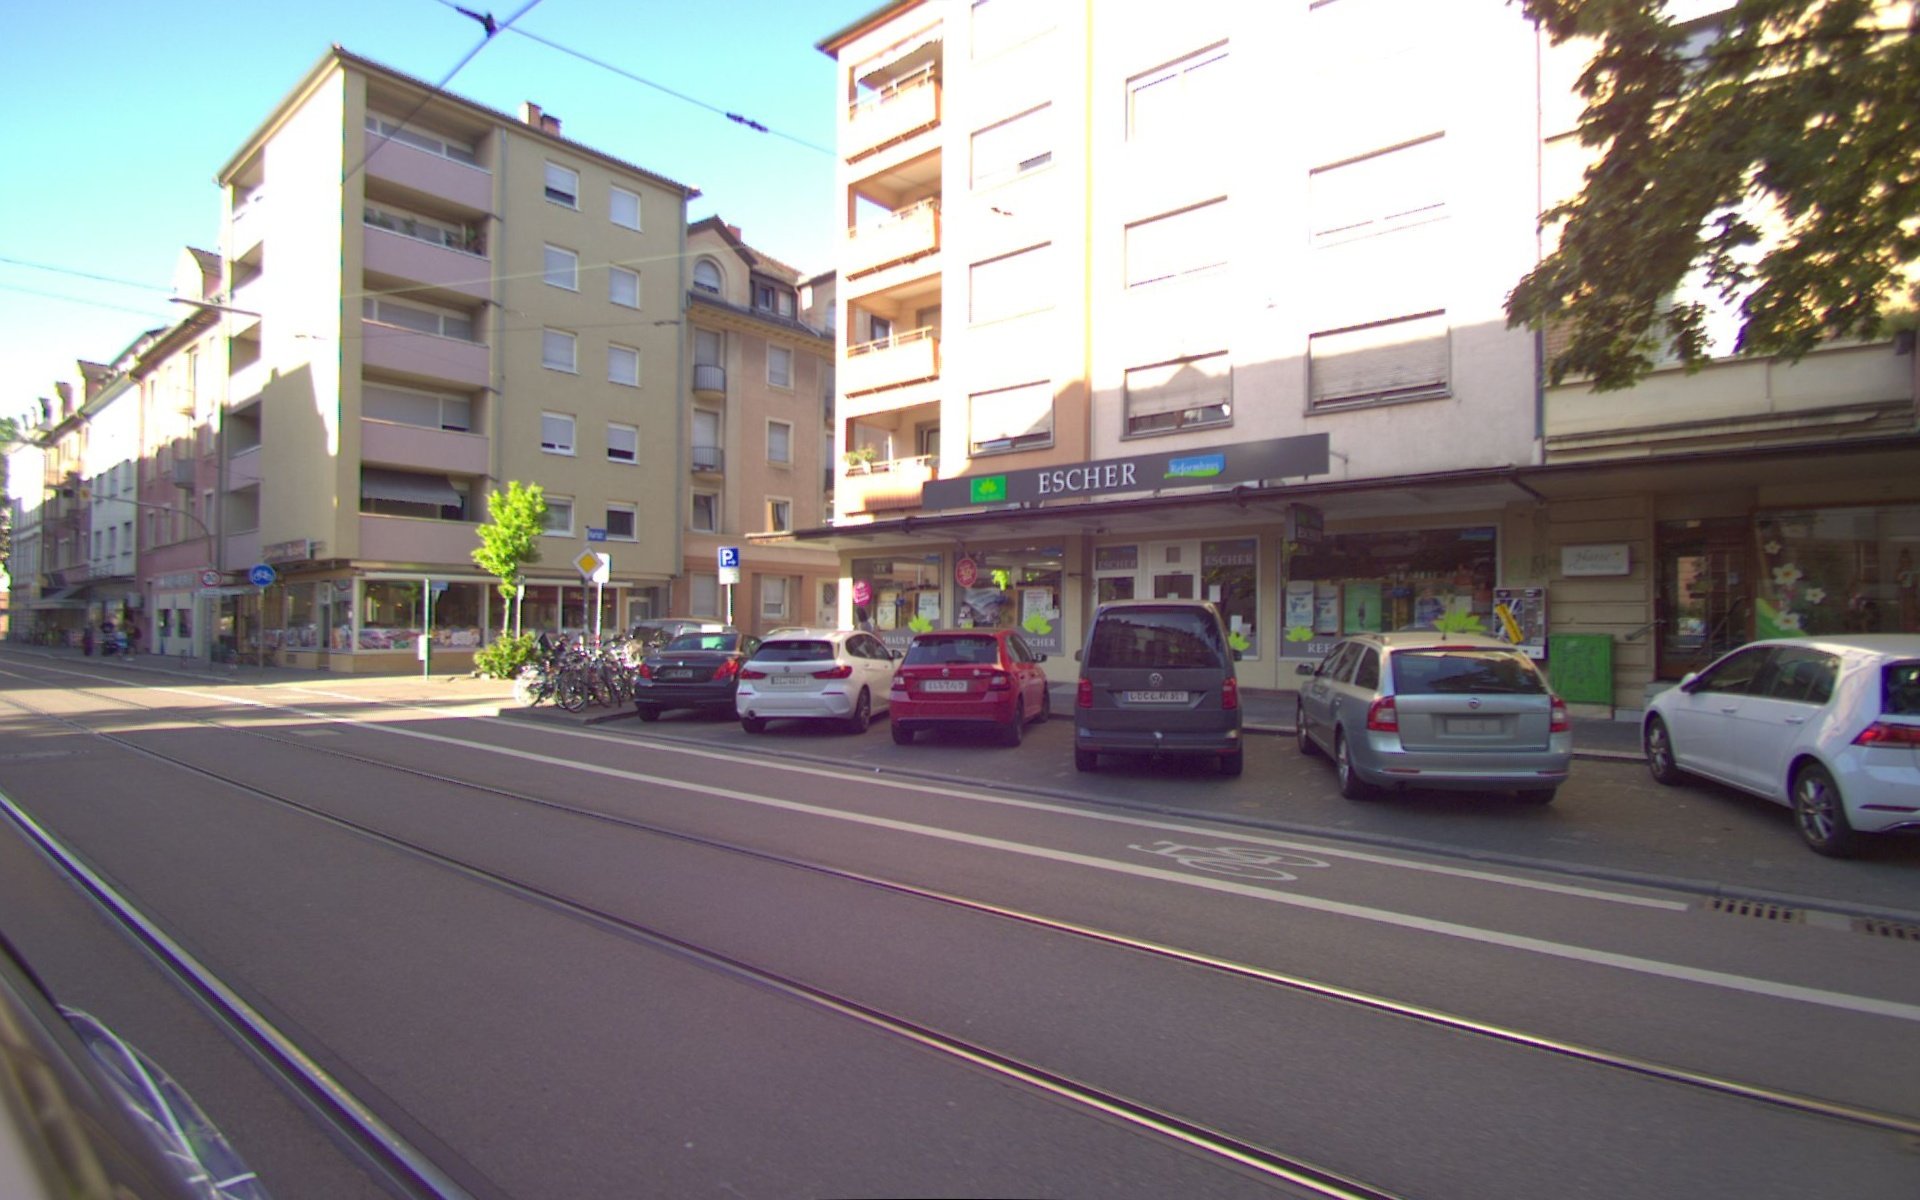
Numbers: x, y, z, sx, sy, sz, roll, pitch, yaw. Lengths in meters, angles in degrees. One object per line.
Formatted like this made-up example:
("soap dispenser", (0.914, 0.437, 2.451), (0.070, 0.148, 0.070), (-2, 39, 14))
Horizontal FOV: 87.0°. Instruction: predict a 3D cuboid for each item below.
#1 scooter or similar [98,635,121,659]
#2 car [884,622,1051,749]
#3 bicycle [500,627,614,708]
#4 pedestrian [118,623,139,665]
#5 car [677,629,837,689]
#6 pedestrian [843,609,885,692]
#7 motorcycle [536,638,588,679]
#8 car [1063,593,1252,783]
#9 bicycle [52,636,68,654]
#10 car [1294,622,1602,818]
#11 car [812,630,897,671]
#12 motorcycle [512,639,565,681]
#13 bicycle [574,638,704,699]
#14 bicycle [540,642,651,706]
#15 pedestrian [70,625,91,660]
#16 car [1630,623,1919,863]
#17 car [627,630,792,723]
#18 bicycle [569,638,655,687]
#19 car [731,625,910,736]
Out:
("scooter or similar", (-38.650, 2.139, 45.988), (1.104, 1.069, 0.655), (-2, -2, 41))
("car", (0.222, 1.067, 13.766), (1.631, 1.484, 3.458), (-1, -2, 12))
("bicycle", (-7.022, 1.174, 17.572), (2.431, 1.330, 0.675), (-4, -3, 37))
("pedestrian", (-33.701, 1.771, 41.013), (0.616, 1.698, 0.557), (-1, -1, 39))
("car", (-5.647, 1.640, 28.360), (3.957, 1.403, 1.843), (-4, -2, 11))
("pedestrian", (-1.958, 1.023, 20.671), (0.641, 1.665, 0.563), (-1, -1, 41))
("motorcycle", (-12.450, 1.800, 31.624), (2.175, 1.219, 0.613), (-1, -1, 41))
("car", (2.204, 0.826, 11.618), (1.777, 1.798, 3.811), (0, 0, 10))
("bicycle", (-54.611, 2.724, 61.379), (2.328, 1.068, 0.420), (-1, -1, 41))
("car", (4.418, 0.960, 9.842), (1.681, 1.460, 4.005), (0, -1, 11))
("car", (-4.185, 2.000, 40.769), (1.785, 1.522, 3.839), (-1, -1, 24))
("motorcycle", (-12.924, 1.827, 30.996), (2.175, 1.219, 0.613), (-1, -1, 41))
("bicycle", (-6.417, 1.360, 20.329), (2.396, 1.118, 0.685), (-2, -3, -9))
("bicycle", (-6.842, 1.381, 19.030), (1.867, 1.132, 0.681), (-2, -3, 10))
("pedestrian", (-39.859, 1.907, 45.866), (0.623, 1.560, 0.629), (-1, -1, 40))
("car", (6.970, 0.913, 7.882), (1.749, 1.440, 3.826), (0, -1, 15))
("car", (-4.087, 1.203, 17.050), (1.605, 1.348, 3.464), (0, -1, 7))
("bicycle", (-8.575, 1.545, 24.873), (2.429, 1.118, 0.676), (-4, -3, 35))
("car", (-1.952, 1.107, 15.260), (1.734, 1.411, 3.782), (0, -1, 8))
